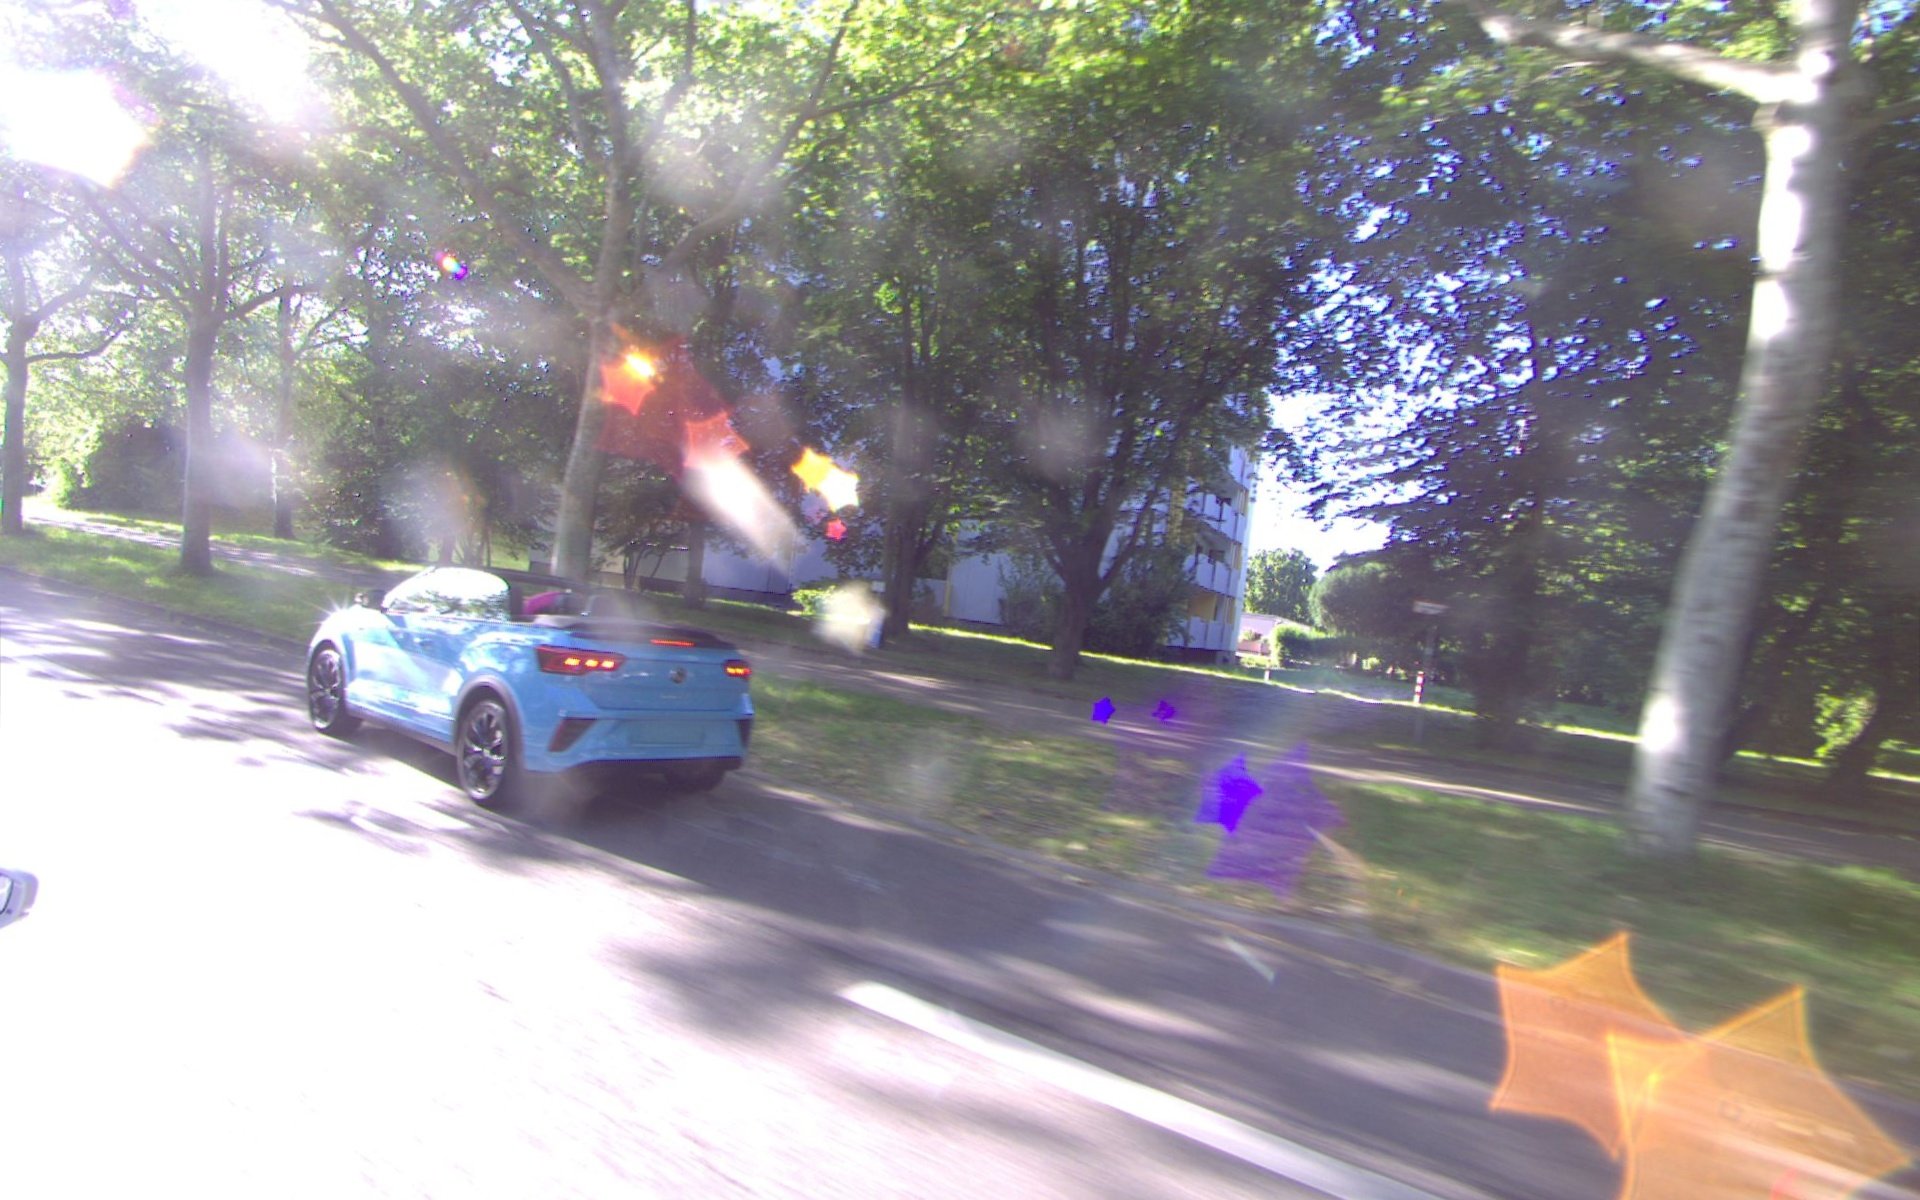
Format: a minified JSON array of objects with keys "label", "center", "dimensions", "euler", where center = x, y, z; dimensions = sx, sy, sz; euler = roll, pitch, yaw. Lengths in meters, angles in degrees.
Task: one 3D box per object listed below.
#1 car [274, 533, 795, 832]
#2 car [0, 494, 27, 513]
[{"label":"car","center":[-3.372,0.479,7.648],"dimensions":[4.038,1.501,1.776],"euler":[7,-2,38]},{"label":"car","center":[-92.865,-9.505,96.663],"dimensions":[4.325,1.577,1.856],"euler":[9,-2,-33]}]
